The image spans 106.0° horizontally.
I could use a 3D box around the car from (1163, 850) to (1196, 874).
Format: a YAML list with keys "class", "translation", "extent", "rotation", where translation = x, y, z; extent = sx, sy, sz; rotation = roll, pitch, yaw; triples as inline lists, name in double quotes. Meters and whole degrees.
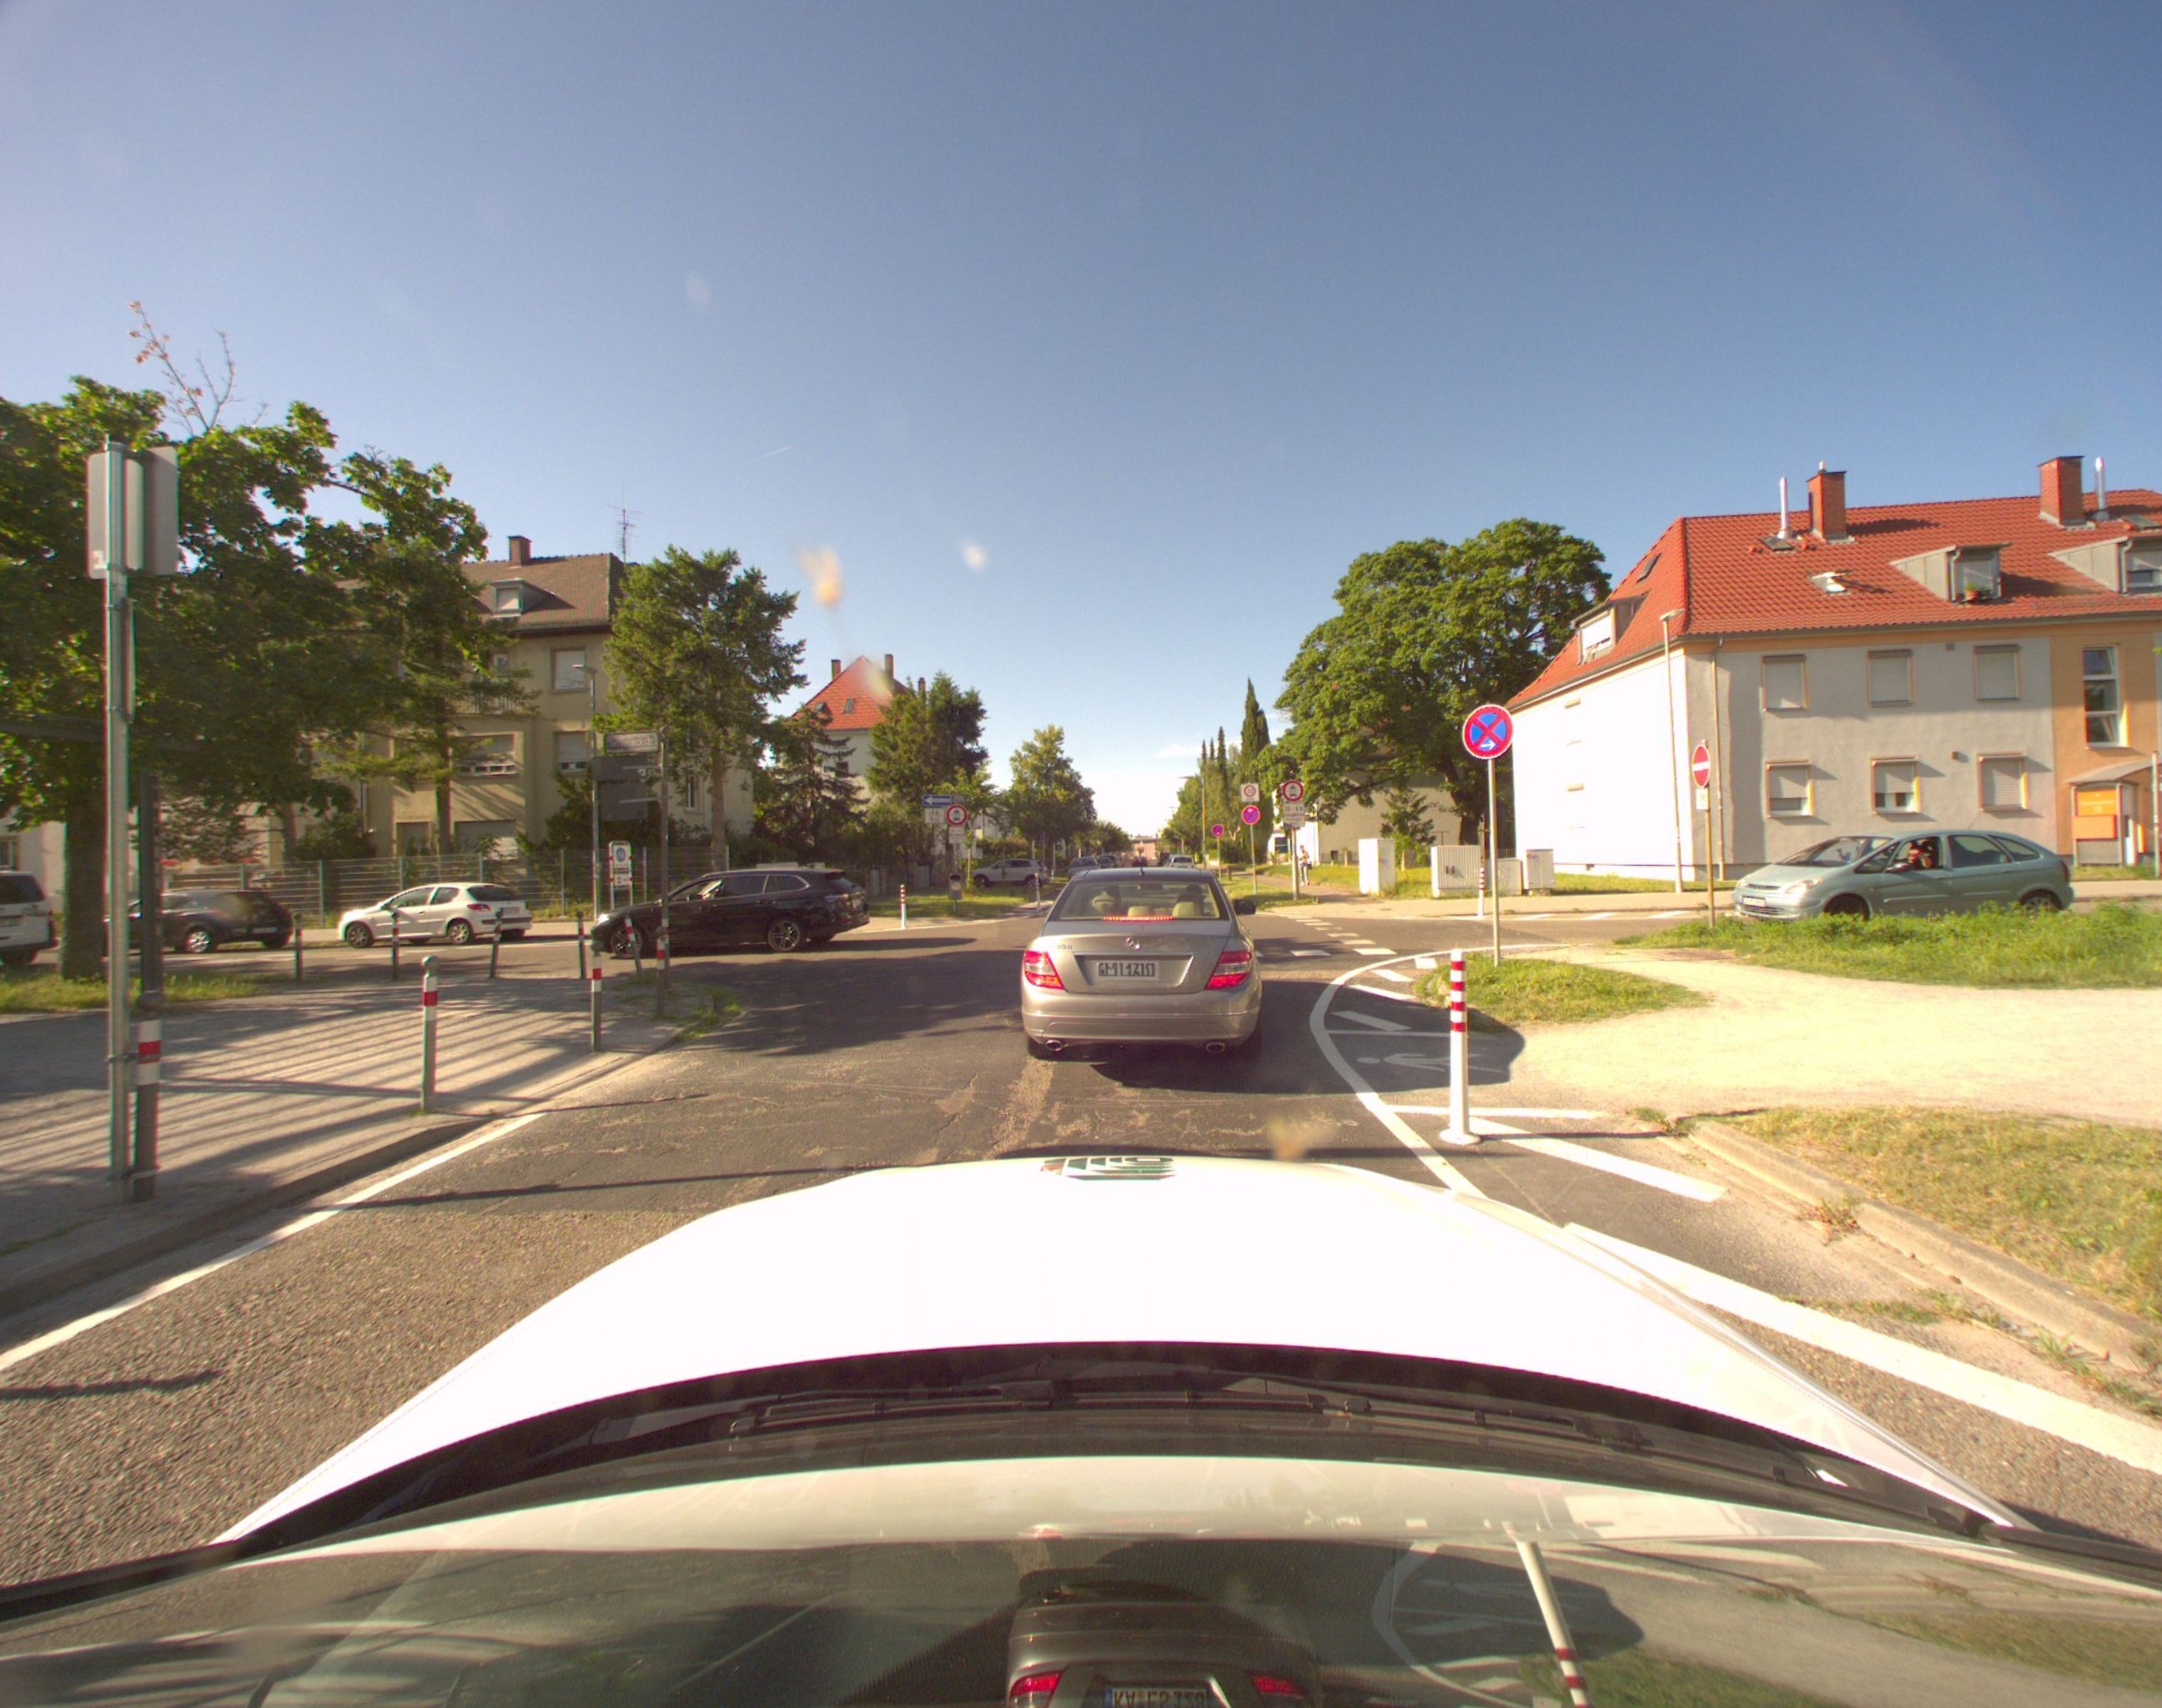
- class: "car"
  translation: [7.001, 0.575, 58.360]
  extent: [1.985, 1.609, 4.003]
  rotation: [-2, 0, 3]

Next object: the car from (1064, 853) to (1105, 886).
- class: "car"
  translation: [0.270, 0.839, 45.627]
  extent: [1.986, 1.609, 4.003]
  rotation: [-5, 0, 2]

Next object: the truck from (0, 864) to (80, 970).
- class: "truck"
  translation: [-23.322, 1.323, 16.076]
  extent: [4.836, 2.036, 2.002]
  rotation: [-2, 0, 4]

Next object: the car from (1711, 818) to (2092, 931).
- class: "car"
  translation: [13.367, 0.327, 13.524]
  extent: [4.213, 1.608, 1.891]
  rotation: [-2, 0, 5]

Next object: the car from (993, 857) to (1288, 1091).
- class: "car"
  translation: [0.562, 0.772, 7.134]
  extent: [1.827, 1.441, 4.006]
  rotation: [-1, 0, 6]

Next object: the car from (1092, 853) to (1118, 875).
- class: "car"
  translation: [2.094, 0.809, 69.190]
  extent: [1.986, 1.609, 4.003]
  rotation: [-5, 0, 2]

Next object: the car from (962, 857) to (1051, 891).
- class: "car"
  translation: [-3.685, 0.971, 40.718]
  extent: [4.177, 1.564, 1.843]
  rotation: [-1, 0, 1]

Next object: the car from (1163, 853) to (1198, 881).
- class: "car"
  translation: [5.752, 0.717, 47.508]
  extent: [1.726, 1.480, 3.728]
  rotation: [-2, 0, 3]

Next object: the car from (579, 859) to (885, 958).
- class: "car"
  translation: [-6.290, 0.954, 15.075]
  extent: [4.722, 1.524, 2.001]
  rotation: [-2, 0, 2]

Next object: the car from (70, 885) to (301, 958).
- class: "car"
  translation: [-21.123, 1.563, 19.295]
  extent: [3.796, 1.495, 1.679]
  rotation: [-2, -1, 4]

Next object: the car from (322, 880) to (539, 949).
- class: "car"
  translation: [-15.147, 1.397, 19.079]
  extent: [3.747, 1.398, 1.709]
  rotation: [-2, -1, 4]

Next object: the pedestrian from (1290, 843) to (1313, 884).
- class: "pedestrian"
  translation: [8.892, 0.398, 32.914]
  extent: [0.761, 1.611, 0.836]
  rotation: [-2, 0, 9]

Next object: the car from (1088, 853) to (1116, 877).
- class: "car"
  translation: [1.685, 0.807, 63.404]
  extent: [1.986, 1.609, 4.003]
  rotation: [-5, 0, 2]

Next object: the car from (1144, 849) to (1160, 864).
- class: "car"
  translation: [8.932, 0.341, 103.109]
  extent: [1.846, 1.841, 4.004]
  rotation: [-2, 0, 4]

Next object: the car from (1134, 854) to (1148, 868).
- class: "car"
  translation: [7.279, 0.800, 98.632]
  extent: [1.591, 1.609, 3.646]
  rotation: [-2, 0, 3]
